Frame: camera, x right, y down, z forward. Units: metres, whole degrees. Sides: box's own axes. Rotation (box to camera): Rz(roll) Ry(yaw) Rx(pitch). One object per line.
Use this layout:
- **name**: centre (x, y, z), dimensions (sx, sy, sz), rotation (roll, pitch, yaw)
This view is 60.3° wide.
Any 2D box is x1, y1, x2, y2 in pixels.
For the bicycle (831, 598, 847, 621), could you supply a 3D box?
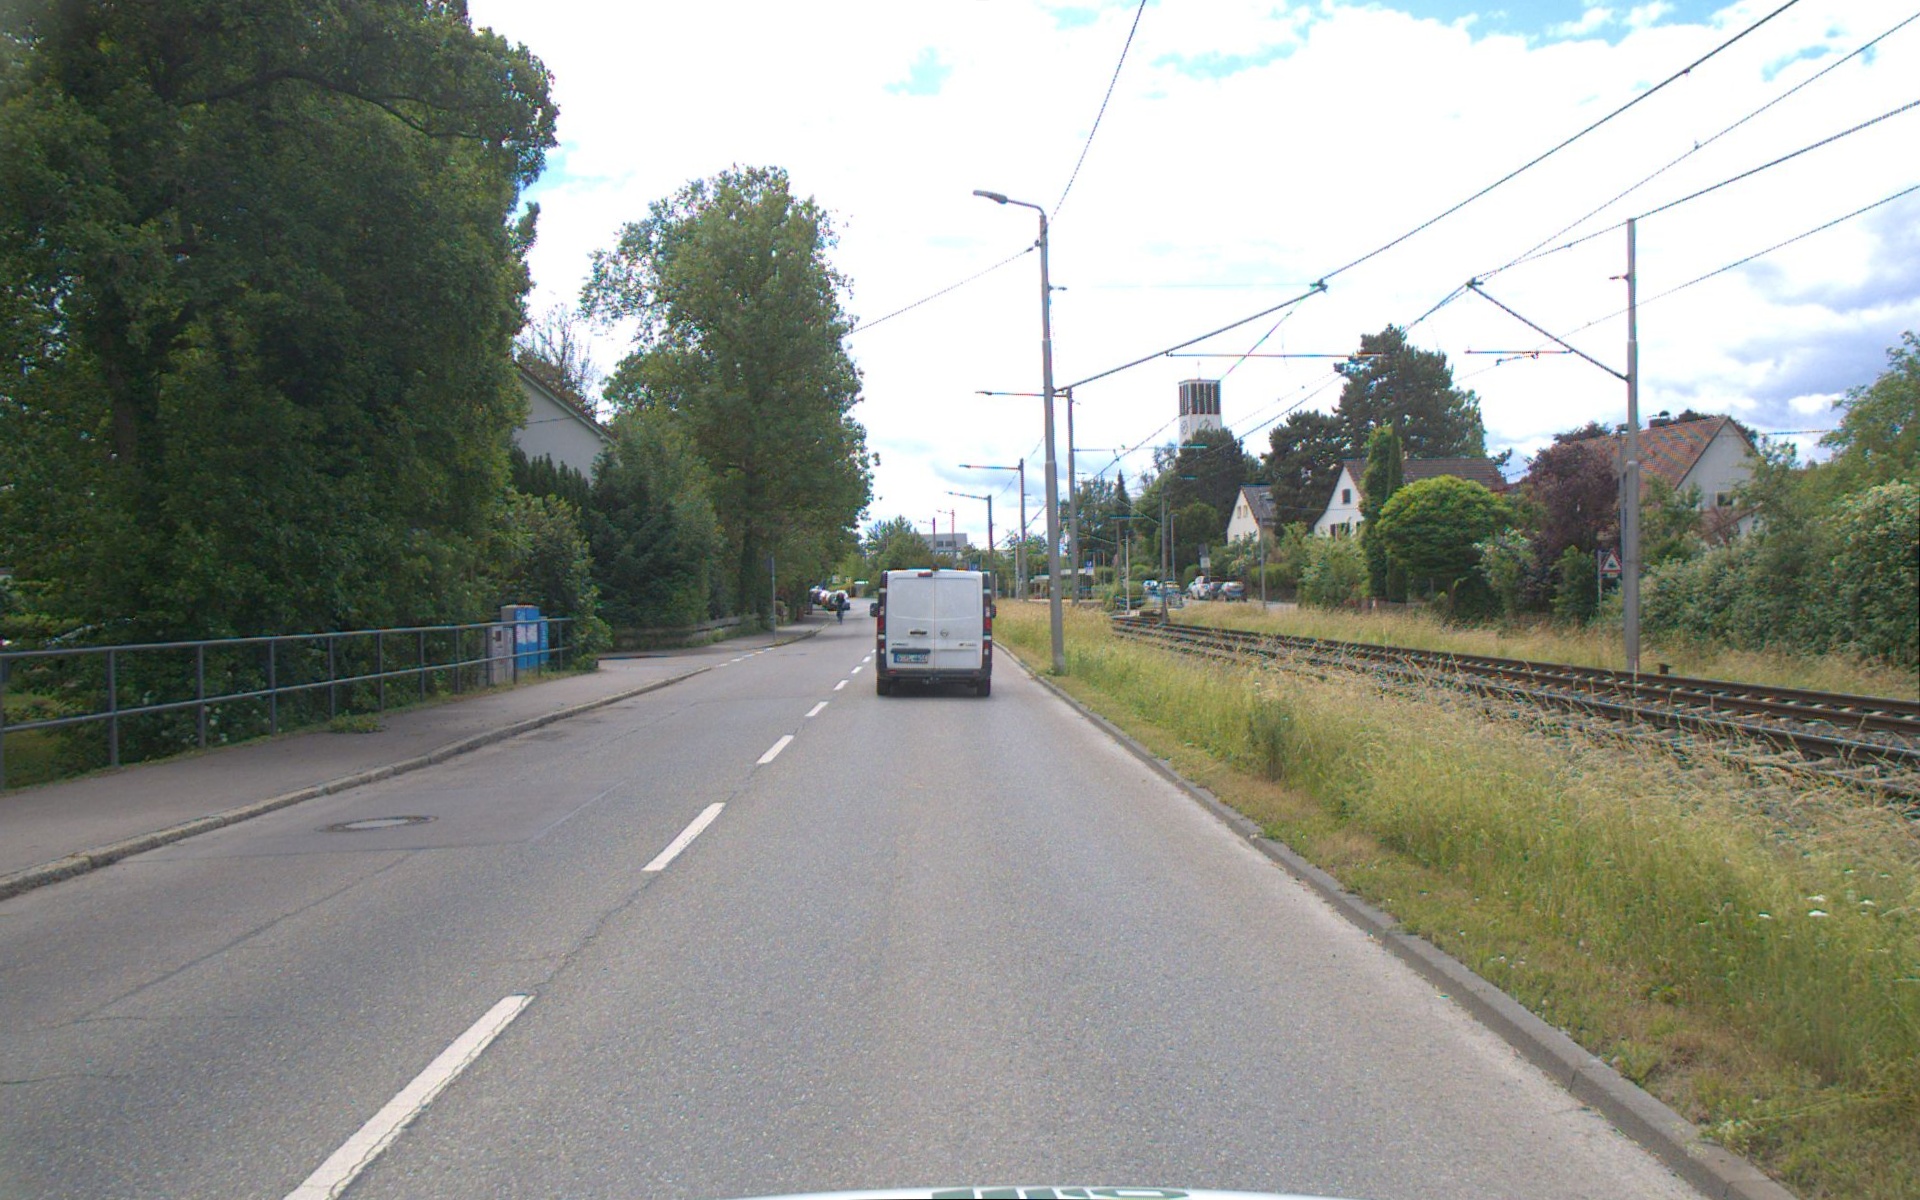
- **bicycle**: centre (-6.855, 0.514, 93.803), dimensions (0.740, 1.248, 2.307), rotation (-3, 0, -1)

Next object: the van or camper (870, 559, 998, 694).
- **van or camper**: centre (-0.424, 0.409, 27.387), dimensions (1.953, 2.049, 4.445), rotation (0, 0, -1)

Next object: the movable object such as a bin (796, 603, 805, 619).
- **movable object such as a bin**: centre (-9.501, 0.665, 98.719), dimensions (0.503, 0.961, 0.568), rotation (0, 0, -2)

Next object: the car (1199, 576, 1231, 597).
- **car**: centre (20.067, -1.068, 130.101), dimensions (1.845, 1.548, 4.000), rotation (-1, 0, 0)

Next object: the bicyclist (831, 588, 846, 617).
- **bicyclist**: centre (-6.900, 0.139, 93.726), dimensions (0.762, 1.576, 0.869), rotation (-2, 0, -2)

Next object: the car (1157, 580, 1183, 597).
- **car**: centre (19.860, -1.063, 156.525), dimensions (1.845, 1.548, 4.000), rotation (-1, 0, 0)

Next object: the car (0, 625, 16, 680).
- **car**: centre (-28.664, 1.502, 45.831), dimensions (3.903, 1.505, 1.957), rotation (-1, 0, 4)

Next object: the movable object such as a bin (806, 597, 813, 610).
- **movable object such as a bin**: centre (-11.492, 0.269, 126.235), dimensions (0.455, 0.946, 0.428), rotation (2, -1, -19)

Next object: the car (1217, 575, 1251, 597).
- **car**: centre (20.495, -1.062, 123.997), dimensions (1.845, 1.548, 4.000), rotation (-1, 0, 0)

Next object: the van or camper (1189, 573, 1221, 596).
- **van or camper**: centre (19.959, -1.260, 134.896), dimensions (1.866, 1.857, 5.047), rotation (-1, 0, 0)
